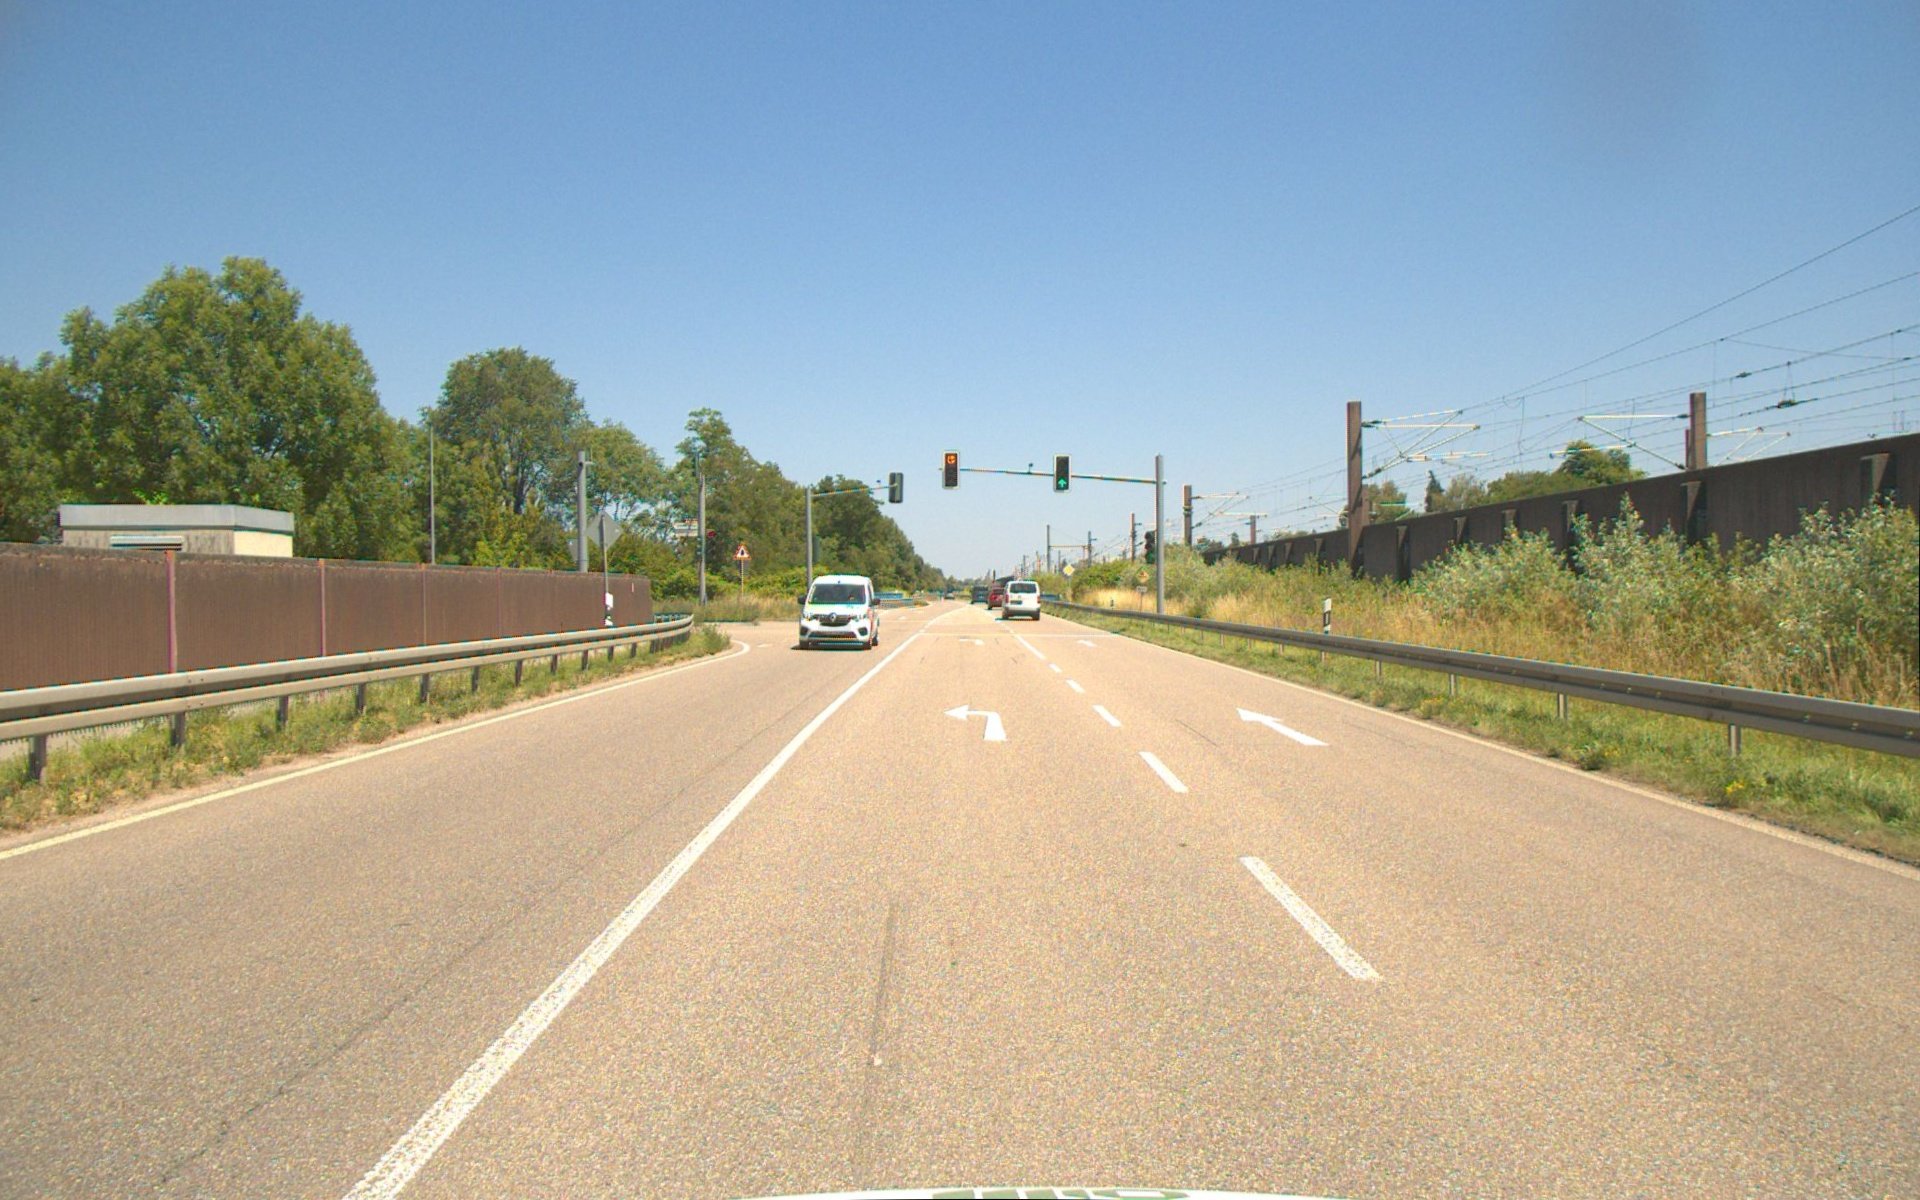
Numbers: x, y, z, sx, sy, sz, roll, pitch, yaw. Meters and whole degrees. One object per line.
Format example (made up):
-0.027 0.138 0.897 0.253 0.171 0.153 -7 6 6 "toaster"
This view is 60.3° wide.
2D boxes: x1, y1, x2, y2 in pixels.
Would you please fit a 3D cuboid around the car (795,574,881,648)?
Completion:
-3.056 0.253 42.222 1.849 1.770 4.776 0 0 0 "car"

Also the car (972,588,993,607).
2.475 -0.280 180.450 2.111 2.002 4.541 0 0 -2 "car"

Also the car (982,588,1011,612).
2.743 -0.035 125.149 1.979 1.756 4.541 0 0 -2 "car"

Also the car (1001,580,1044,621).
3.174 0.018 84.329 1.953 2.018 4.059 1 0 -1 "car"
